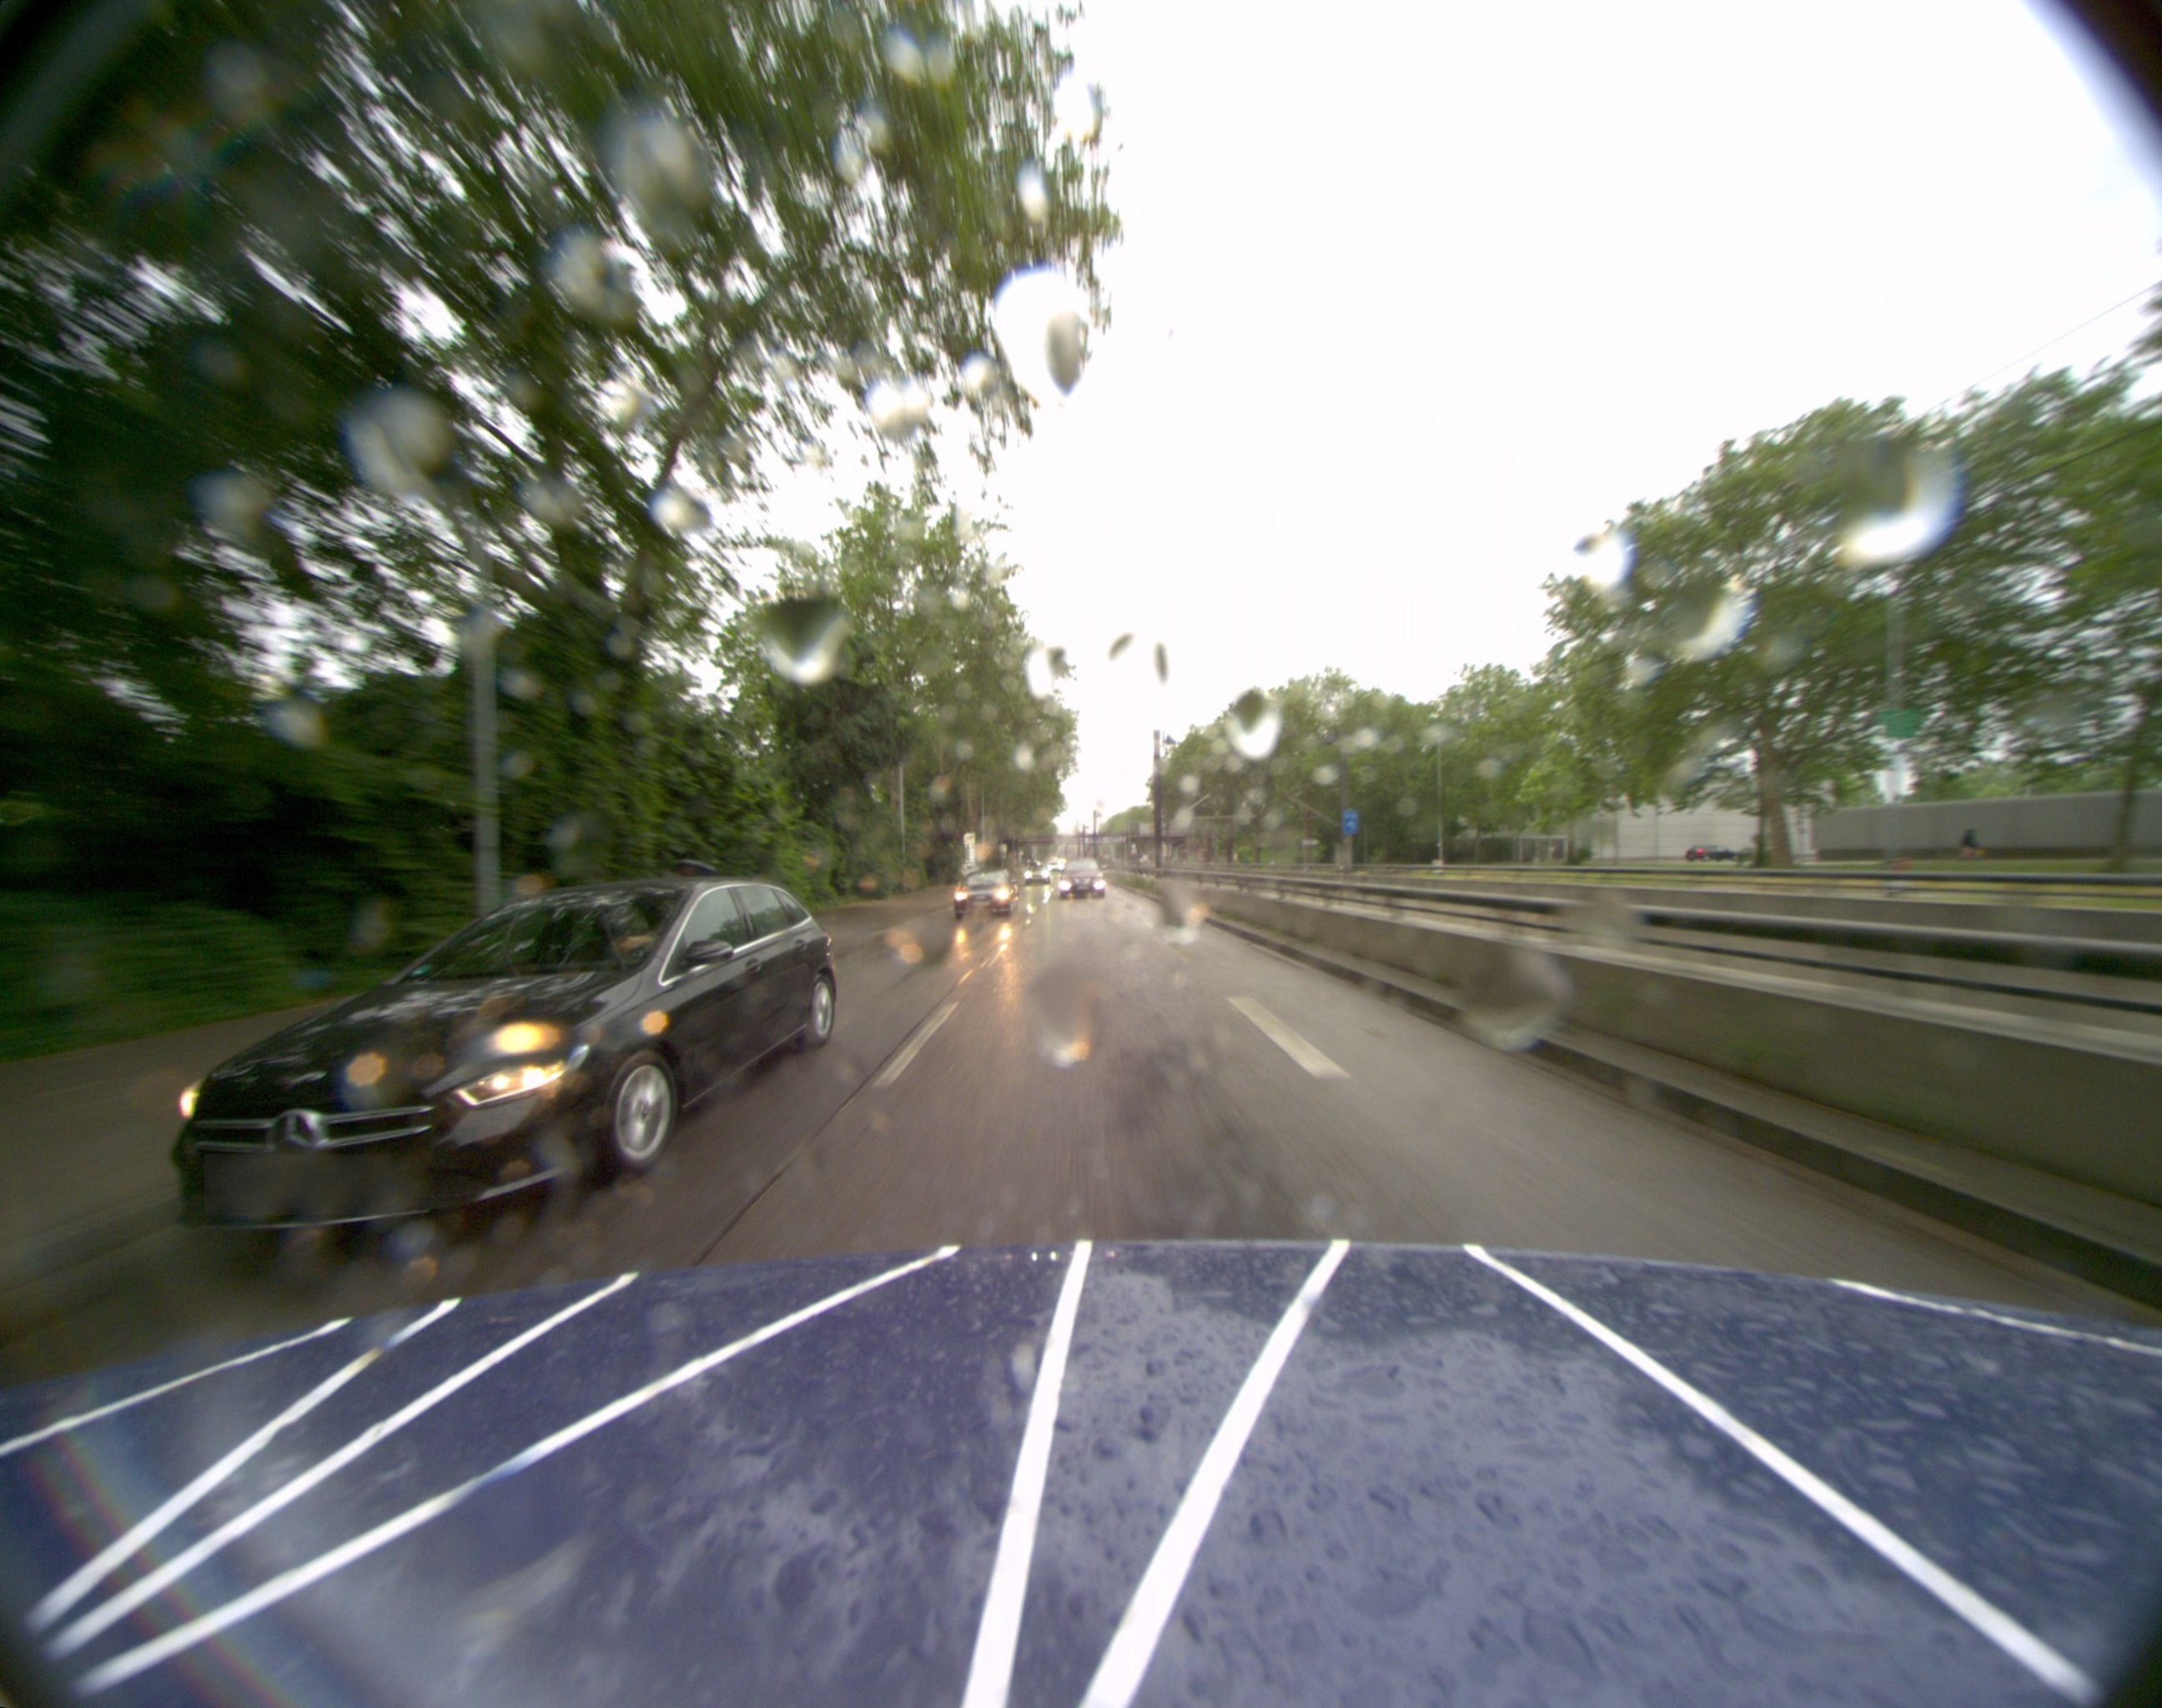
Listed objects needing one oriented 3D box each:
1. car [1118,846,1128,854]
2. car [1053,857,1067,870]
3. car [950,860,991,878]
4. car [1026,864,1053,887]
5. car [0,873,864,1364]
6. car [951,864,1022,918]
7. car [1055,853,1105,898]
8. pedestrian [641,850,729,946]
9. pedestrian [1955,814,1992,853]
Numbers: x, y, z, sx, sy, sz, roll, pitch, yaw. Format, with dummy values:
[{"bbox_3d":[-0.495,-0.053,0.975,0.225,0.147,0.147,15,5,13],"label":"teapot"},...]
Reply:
[{"bbox_3d":[10.594,-0.957,192.238,1.999,2.002,4.509,-3,1,-2],"label":"car"},{"bbox_3d":[-2.947,1.357,104.999,1.869,1.689,4.424,-2,0,-2],"label":"car"},{"bbox_3d":[-9.437,1.283,64.826,1.611,1.423,3.546,-4,1,-42],"label":"car"},{"bbox_3d":[-2.976,1.513,55.444,1.821,1.520,4.158,-2,0,-1],"label":"car"},{"bbox_3d":[-3.074,1.011,4.904,1.821,1.521,4.422,-3,1,3],"label":"car"},{"bbox_3d":[-2.885,1.092,23.902,1.641,1.377,3.781,-3,1,1],"label":"car"},{"bbox_3d":[0.001,0.897,33.320,1.975,1.794,4.159,-2,0,1],"label":"car"},{"bbox_3d":[-7.449,0.797,14.348,0.969,1.692,1.140,-3,1,-1],"label":"pedestrian"},{"bbox_3d":[47.799,-1.084,40.711,1.004,2.002,0.790,-3,1,0],"label":"pedestrian"}]
